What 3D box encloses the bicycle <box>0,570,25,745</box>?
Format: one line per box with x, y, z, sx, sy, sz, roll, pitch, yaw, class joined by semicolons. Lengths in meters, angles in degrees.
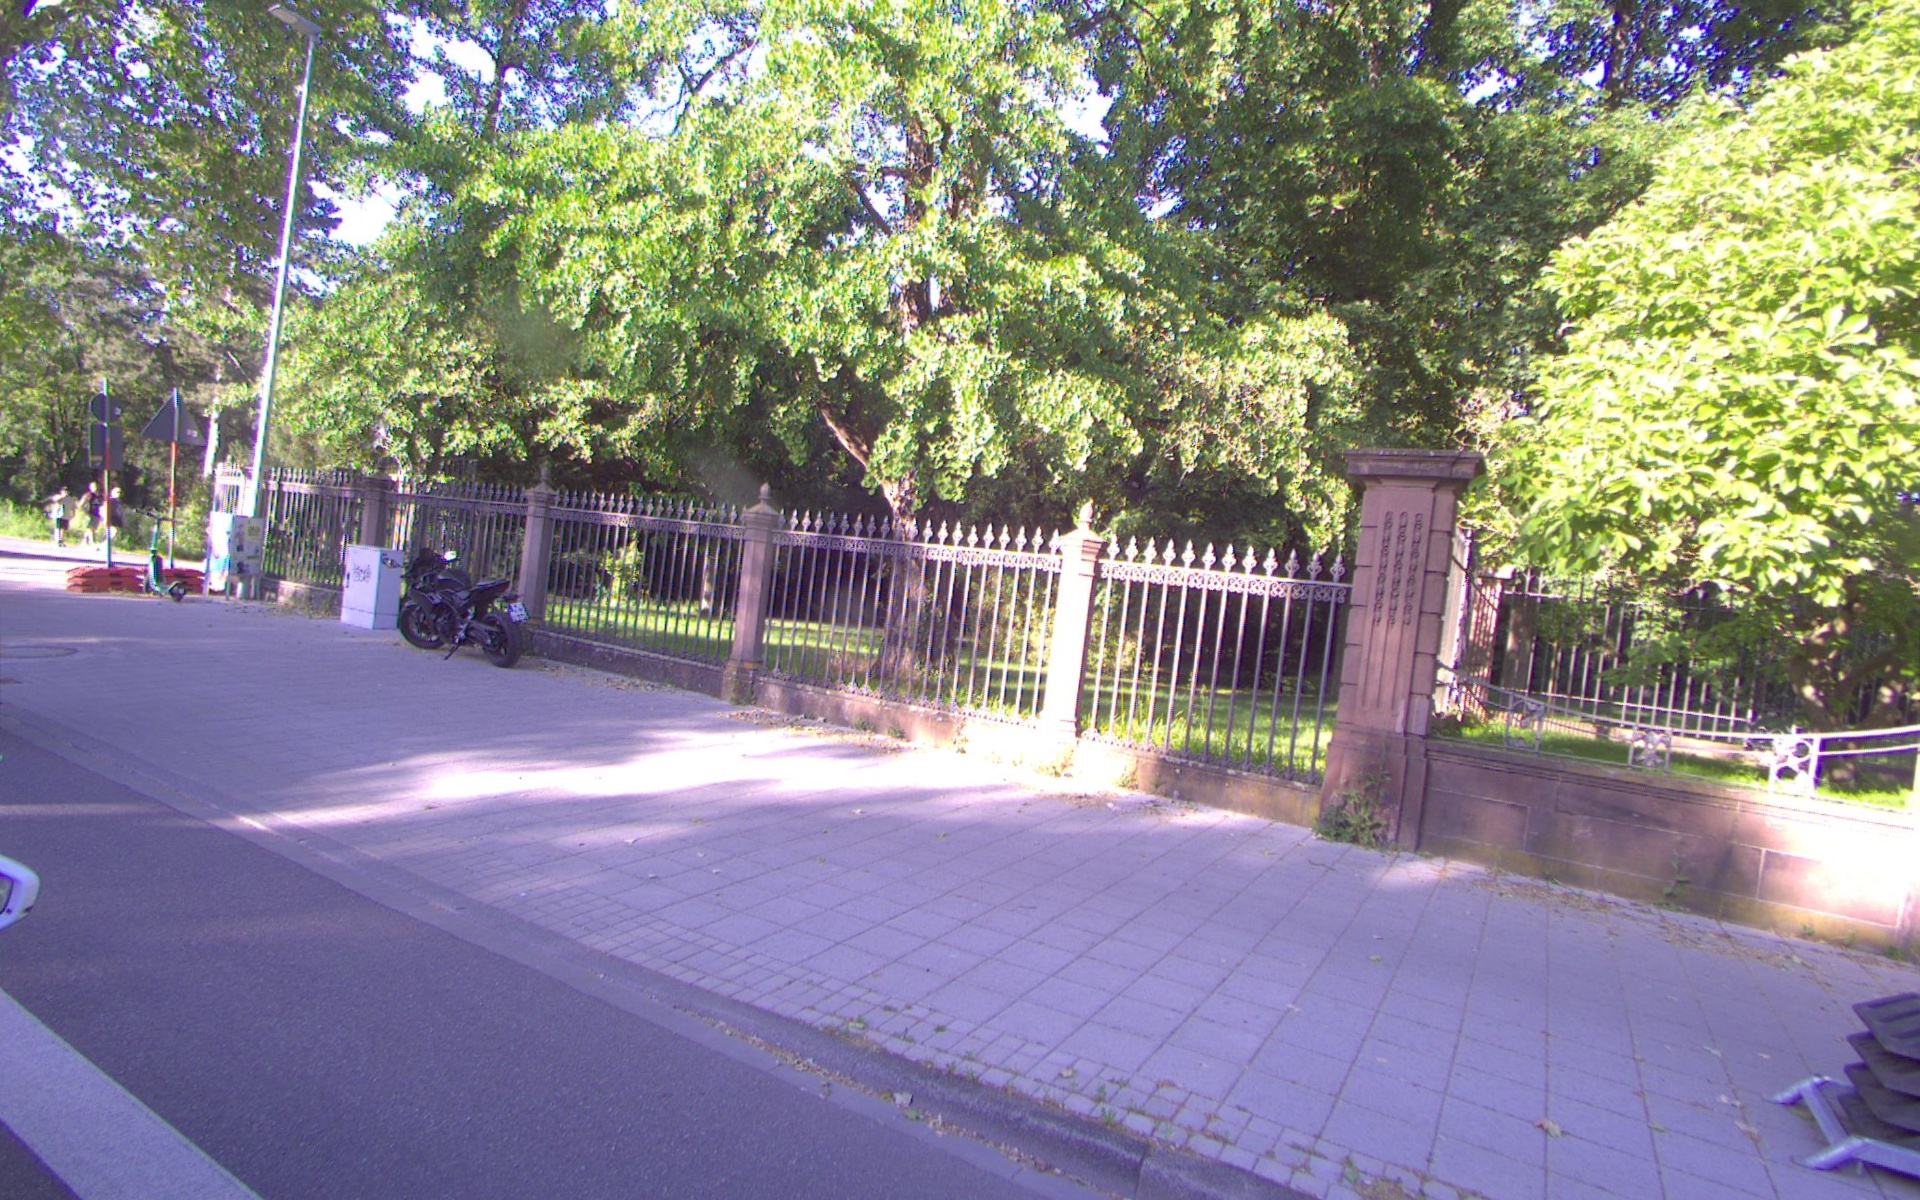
-6.722;0.223;6.269;2.046;1.021;0.670;7;-1;30;bicycle

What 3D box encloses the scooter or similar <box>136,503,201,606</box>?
-11.258;-0.657;14.297;1.152;1.344;0.228;7;2;30;scooter or similar

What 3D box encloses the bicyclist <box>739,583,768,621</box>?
-8.520;0.068;41.566;0.656;1.448;0.782;7;-1;37;bicyclist

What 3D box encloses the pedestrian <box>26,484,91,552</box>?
-22.795;-2.064;25.445;0.900;1.536;0.820;7;-1;24;pedestrian

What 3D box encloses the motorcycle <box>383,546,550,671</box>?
-5.502;0.070;11.160;2.134;1.146;0.506;7;2;30;motorcycle

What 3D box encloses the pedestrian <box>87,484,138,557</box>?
-21.418;-2.011;25.425;0.632;1.721;0.690;7;2;25;pedestrian

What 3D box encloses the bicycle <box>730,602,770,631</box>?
-8.646;0.704;41.495;0.468;1.026;1.617;7;-1;36;bicycle

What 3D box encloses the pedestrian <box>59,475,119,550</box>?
-22.793;-2.283;26.327;0.817;1.794;0.819;7;1;25;pedestrian
